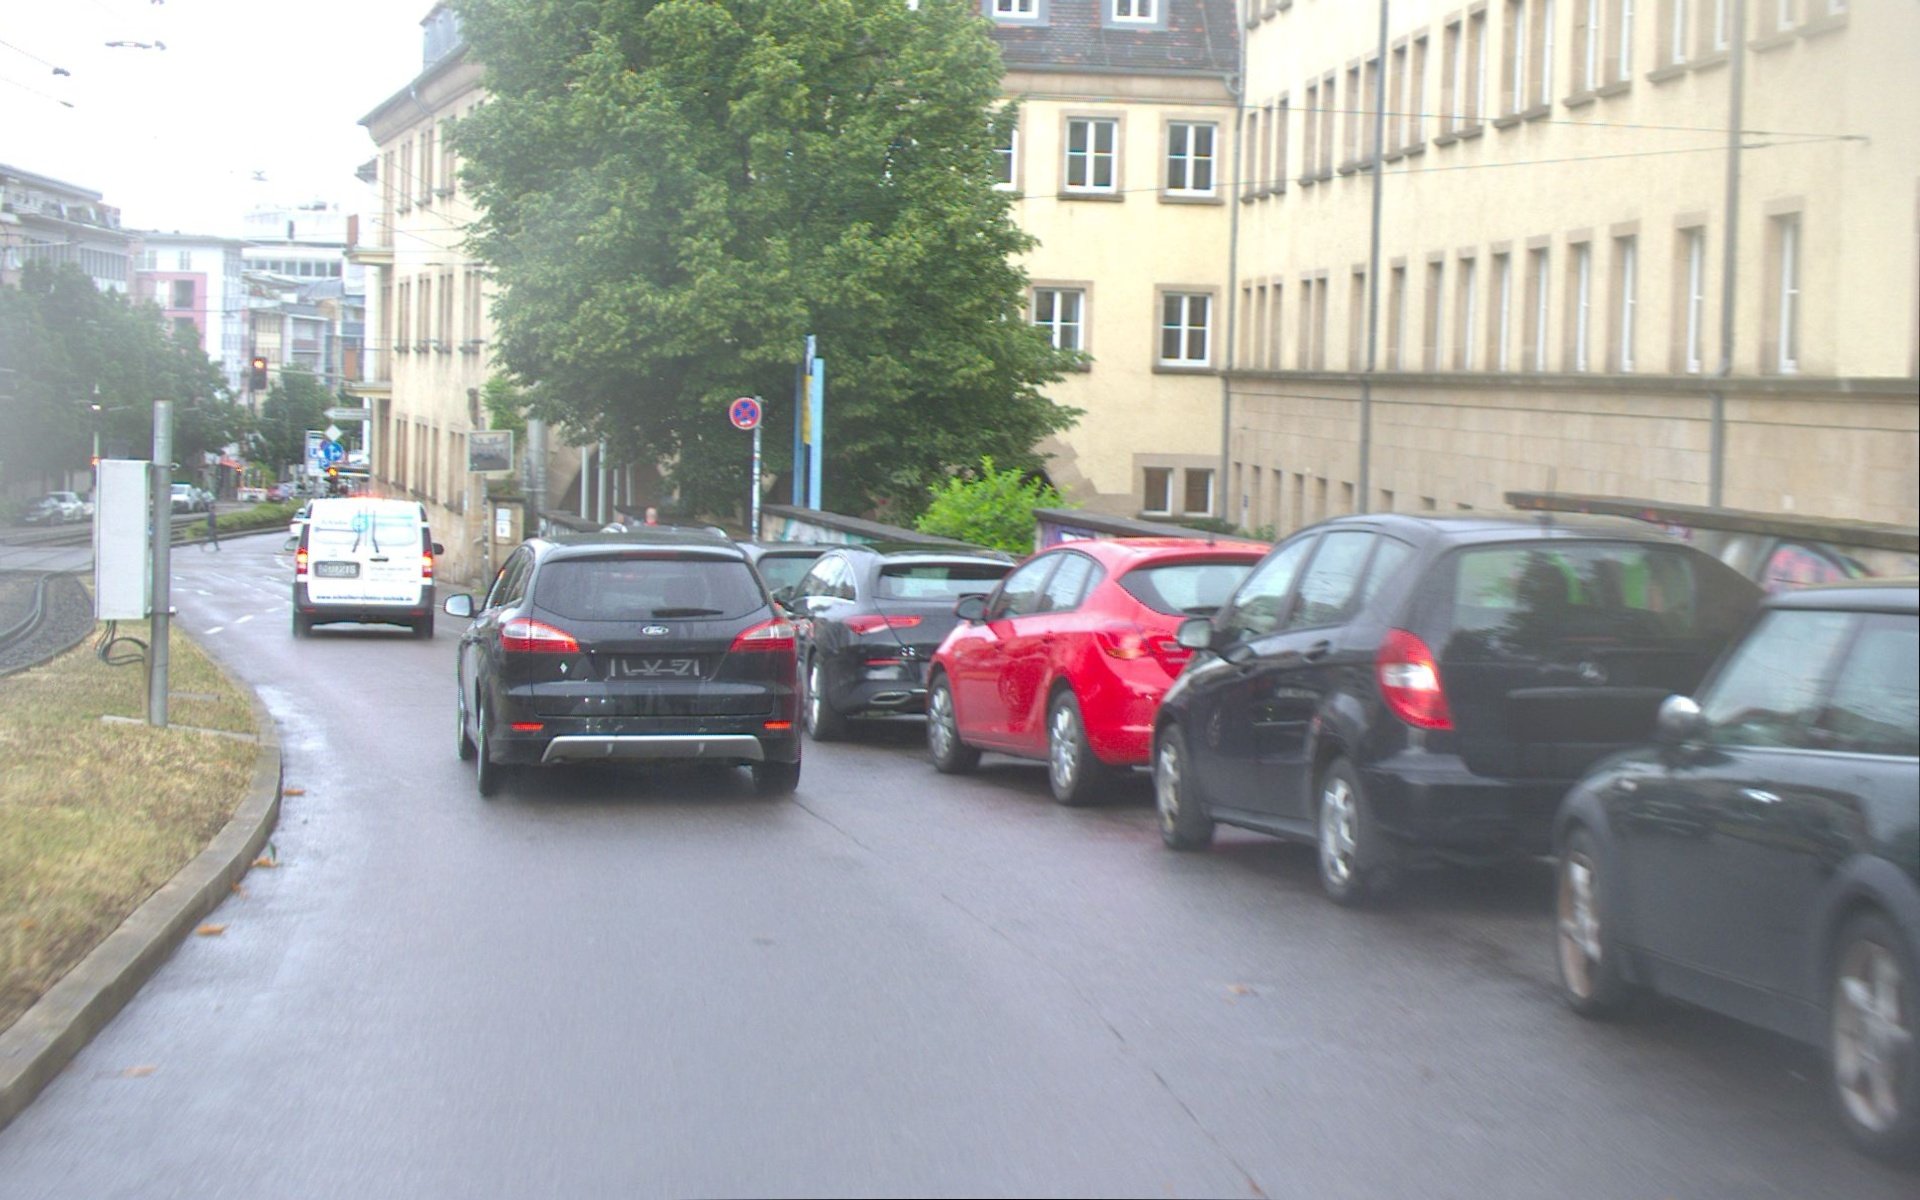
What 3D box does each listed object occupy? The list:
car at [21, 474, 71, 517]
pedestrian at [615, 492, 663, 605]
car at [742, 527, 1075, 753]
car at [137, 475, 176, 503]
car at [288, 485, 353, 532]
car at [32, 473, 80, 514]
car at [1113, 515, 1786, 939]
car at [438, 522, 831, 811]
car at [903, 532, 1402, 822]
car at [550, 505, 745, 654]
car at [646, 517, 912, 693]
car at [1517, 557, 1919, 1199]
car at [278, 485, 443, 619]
[{"bbox_3d":[-44.637,-5.108,167.981,1.993,2.006,4.001,1,2,-10],"label":"car"},{"bbox_3d":[-4.905,-0.792,52.529,0.632,1.715,0.711,0,1,-13],"label":"pedestrian"},{"bbox_3d":[-0.478,0.220,25.505,1.665,1.471,4.459,-1,2,-11],"label":"car"},{"bbox_3d":[-47.909,-6.614,205.086,1.993,1.656,4.001,1,2,-10],"label":"car"},{"bbox_3d":[-24.911,-3.571,134.018,1.993,1.766,4.001,1,2,-4],"label":"car"},{"bbox_3d":[-45.798,-5.388,174.177,1.993,2.006,4.001,1,2,-10],"label":"car"},{"bbox_3d":[1.955,0.424,14.903,1.665,1.567,3.857,-1,2,-12],"label":"car"},{"bbox_3d":[-2.037,0.310,20.416,1.919,1.474,4.002,0,2,-11],"label":"car"},{"bbox_3d":[1.004,0.380,20.170,1.665,1.471,4.068,1,1,-16],"label":"car"},{"bbox_3d":[-3.465,-0.271,37.559,1.665,1.519,4.110,-1,2,-11],"label":"car"},{"bbox_3d":[-1.730,-0.008,31.543,1.665,1.471,4.110,-1,2,-14],"label":"car"},{"bbox_3d":[2.734,0.622,9.439,1.535,1.411,3.645,0,2,-5],"label":"car"},{"bbox_3d":[-8.270,-0.694,47.275,2.136,1.739,4.220,0,2,-11],"label":"car"}]
